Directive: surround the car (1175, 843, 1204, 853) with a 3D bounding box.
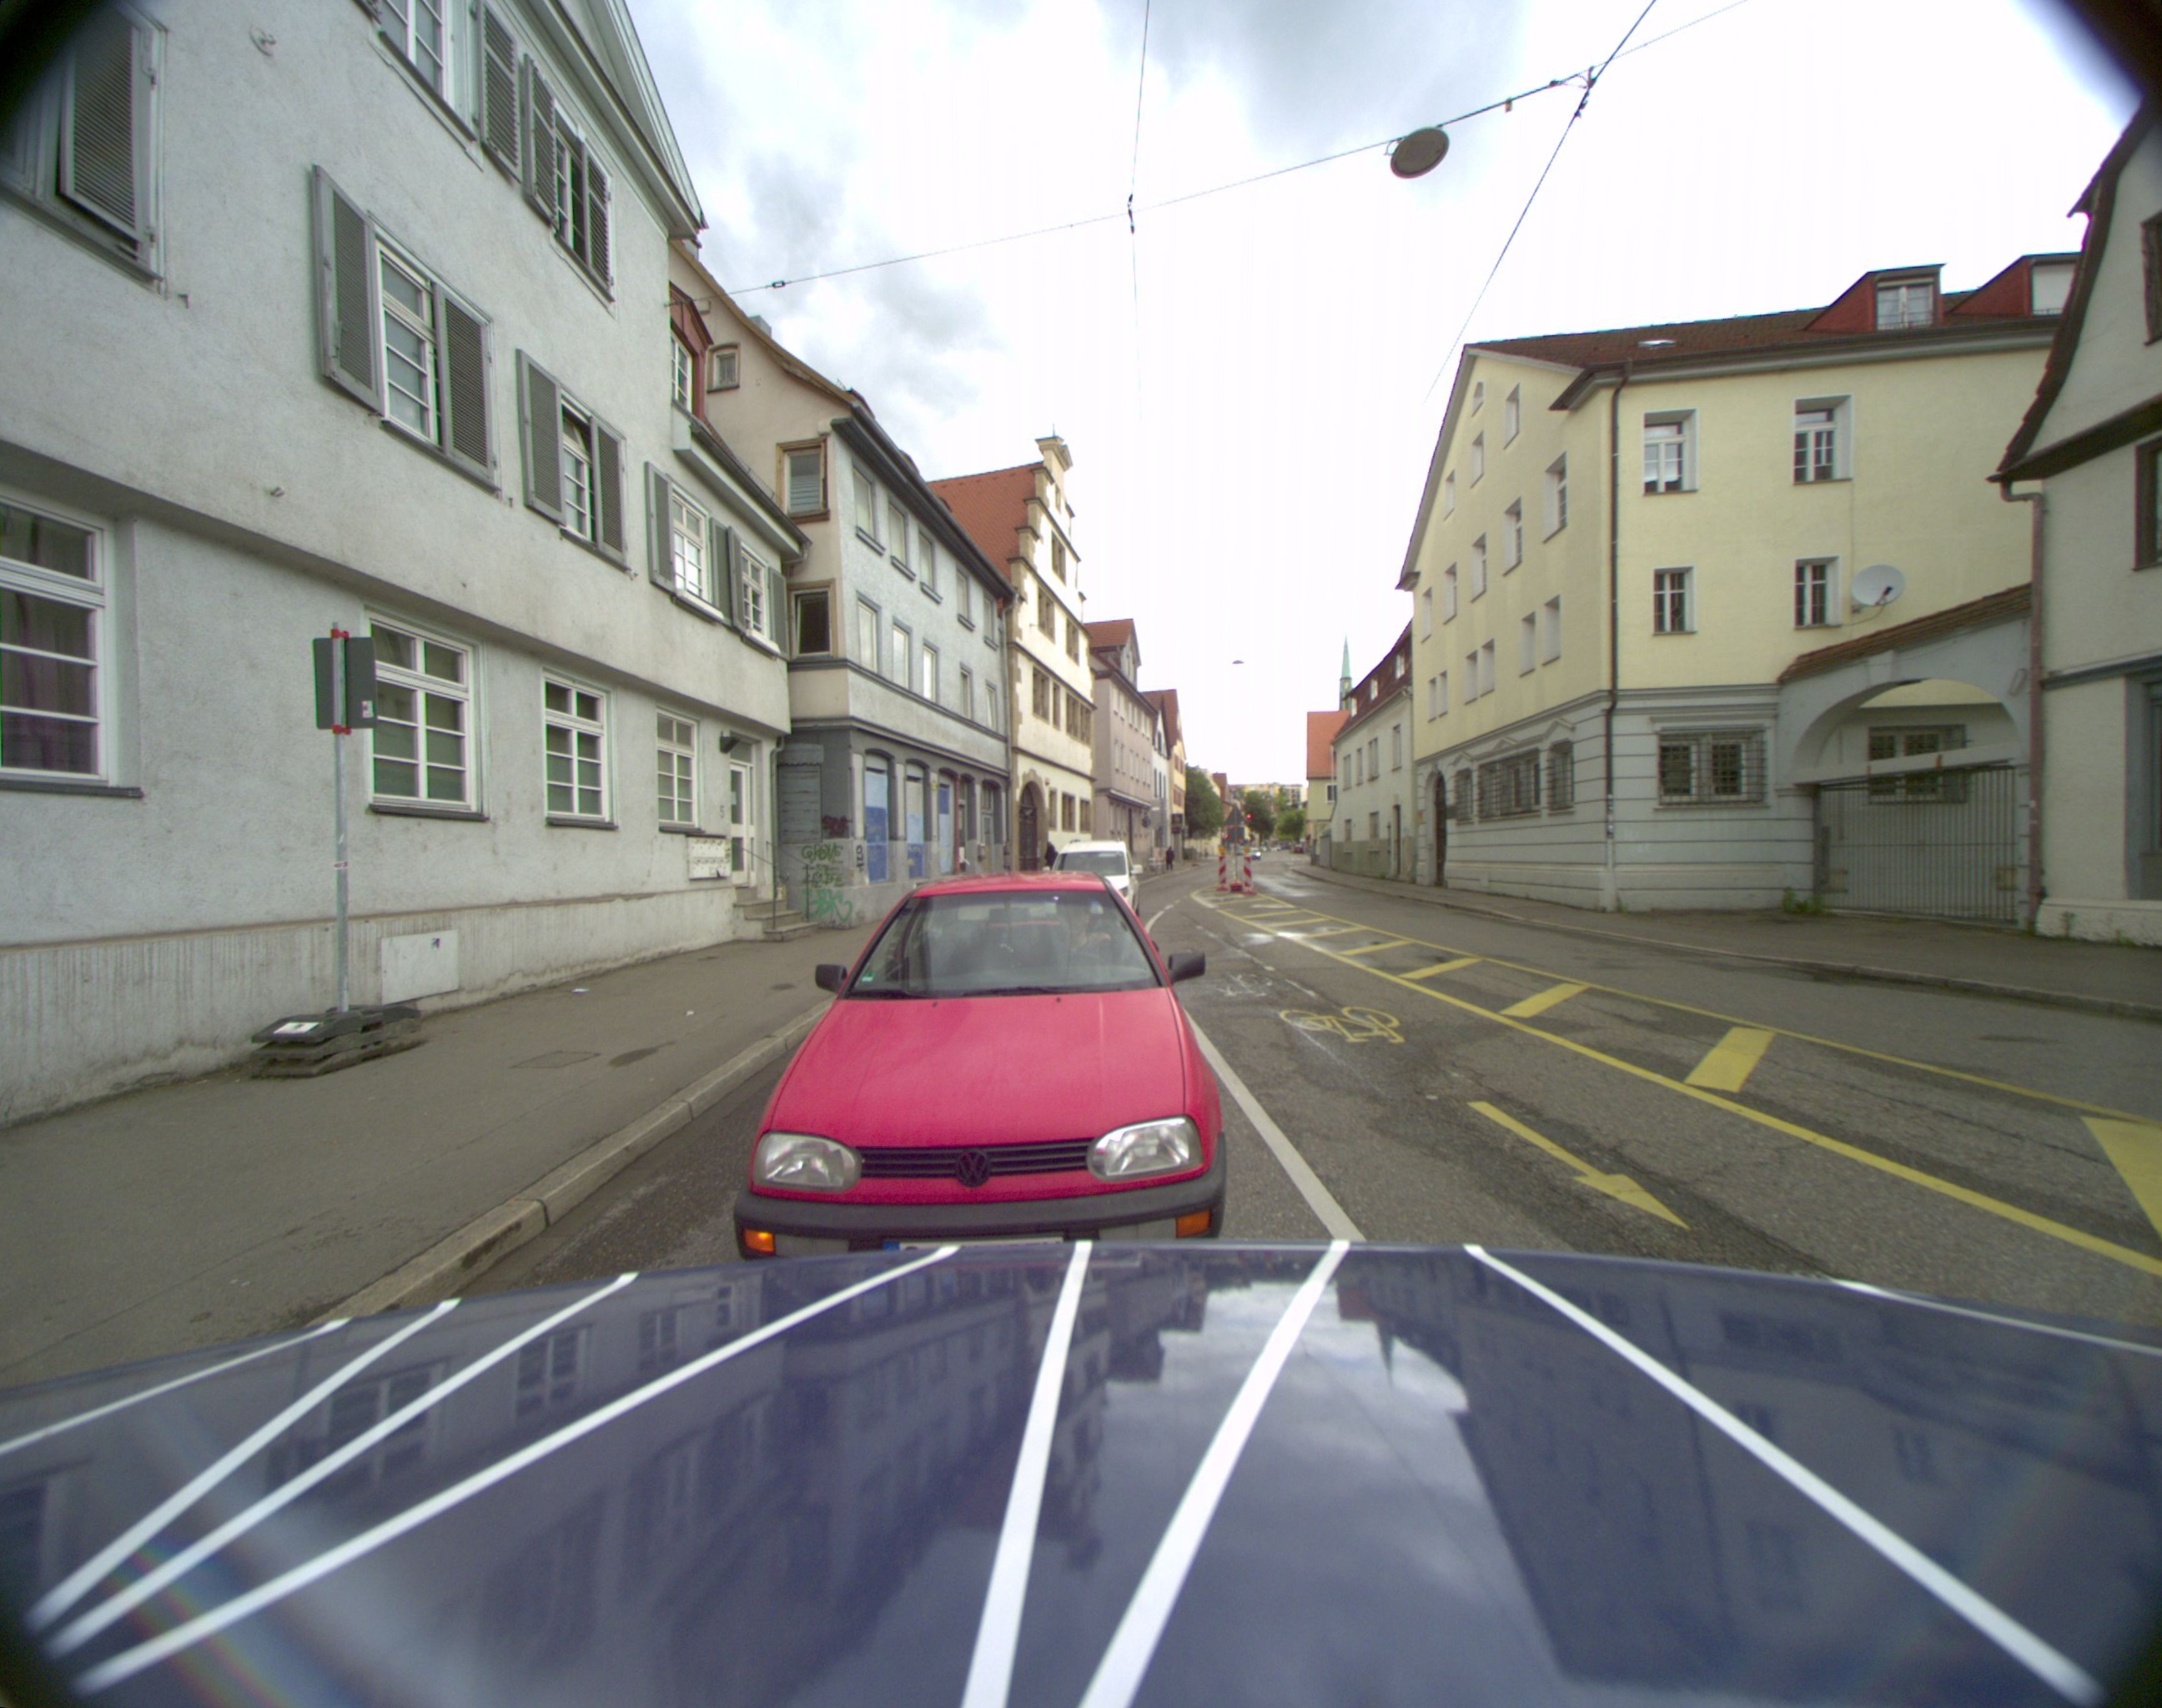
[{"bbox_3d":[16.281,-0.886,113.628,3.992,1.455,2.002,-1,2,17],"label":"car"}]

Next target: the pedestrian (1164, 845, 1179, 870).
[{"bbox_3d":[6.054,0.261,50.956,0.833,1.646,0.945,-1,0,15],"label":"pedestrian"}]

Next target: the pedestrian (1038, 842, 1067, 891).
[{"bbox_3d":[-0.988,0.436,26.455,0.756,1.658,0.810,2,1,15],"label":"pedestrian"}]

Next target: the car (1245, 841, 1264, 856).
[{"bbox_3d":[20.479,-0.678,89.556,1.996,1.669,4.004,-1,1,15],"label":"car"}]

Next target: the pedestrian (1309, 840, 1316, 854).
[{"bbox_3d":[35.207,-1.122,115.688,0.757,2.109,0.784,0,0,35],"label":"pedestrian"}]

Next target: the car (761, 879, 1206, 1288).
[{"bbox_3d":[-0.344,0.957,4.944,1.685,1.418,4.021,-1,0,1],"label":"car"}]

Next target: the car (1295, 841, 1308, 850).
[{"bbox_3d":[42.634,-1.671,146.802,2.210,1.668,4.502,0,1,14],"label":"car"}]

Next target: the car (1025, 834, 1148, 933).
[{"bbox_3d":[0.283,0.477,15.941,1.997,1.777,4.469,0,2,8],"label":"car"}]

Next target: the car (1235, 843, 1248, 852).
[{"bbox_3d":[28.302,-1.124,133.622,2.031,1.546,4.004,0,1,14],"label":"car"}]

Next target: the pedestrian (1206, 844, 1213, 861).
[{"bbox_3d":[18.042,-0.192,106.701,0.901,2.297,0.821,-1,0,13],"label":"pedestrian"}]
